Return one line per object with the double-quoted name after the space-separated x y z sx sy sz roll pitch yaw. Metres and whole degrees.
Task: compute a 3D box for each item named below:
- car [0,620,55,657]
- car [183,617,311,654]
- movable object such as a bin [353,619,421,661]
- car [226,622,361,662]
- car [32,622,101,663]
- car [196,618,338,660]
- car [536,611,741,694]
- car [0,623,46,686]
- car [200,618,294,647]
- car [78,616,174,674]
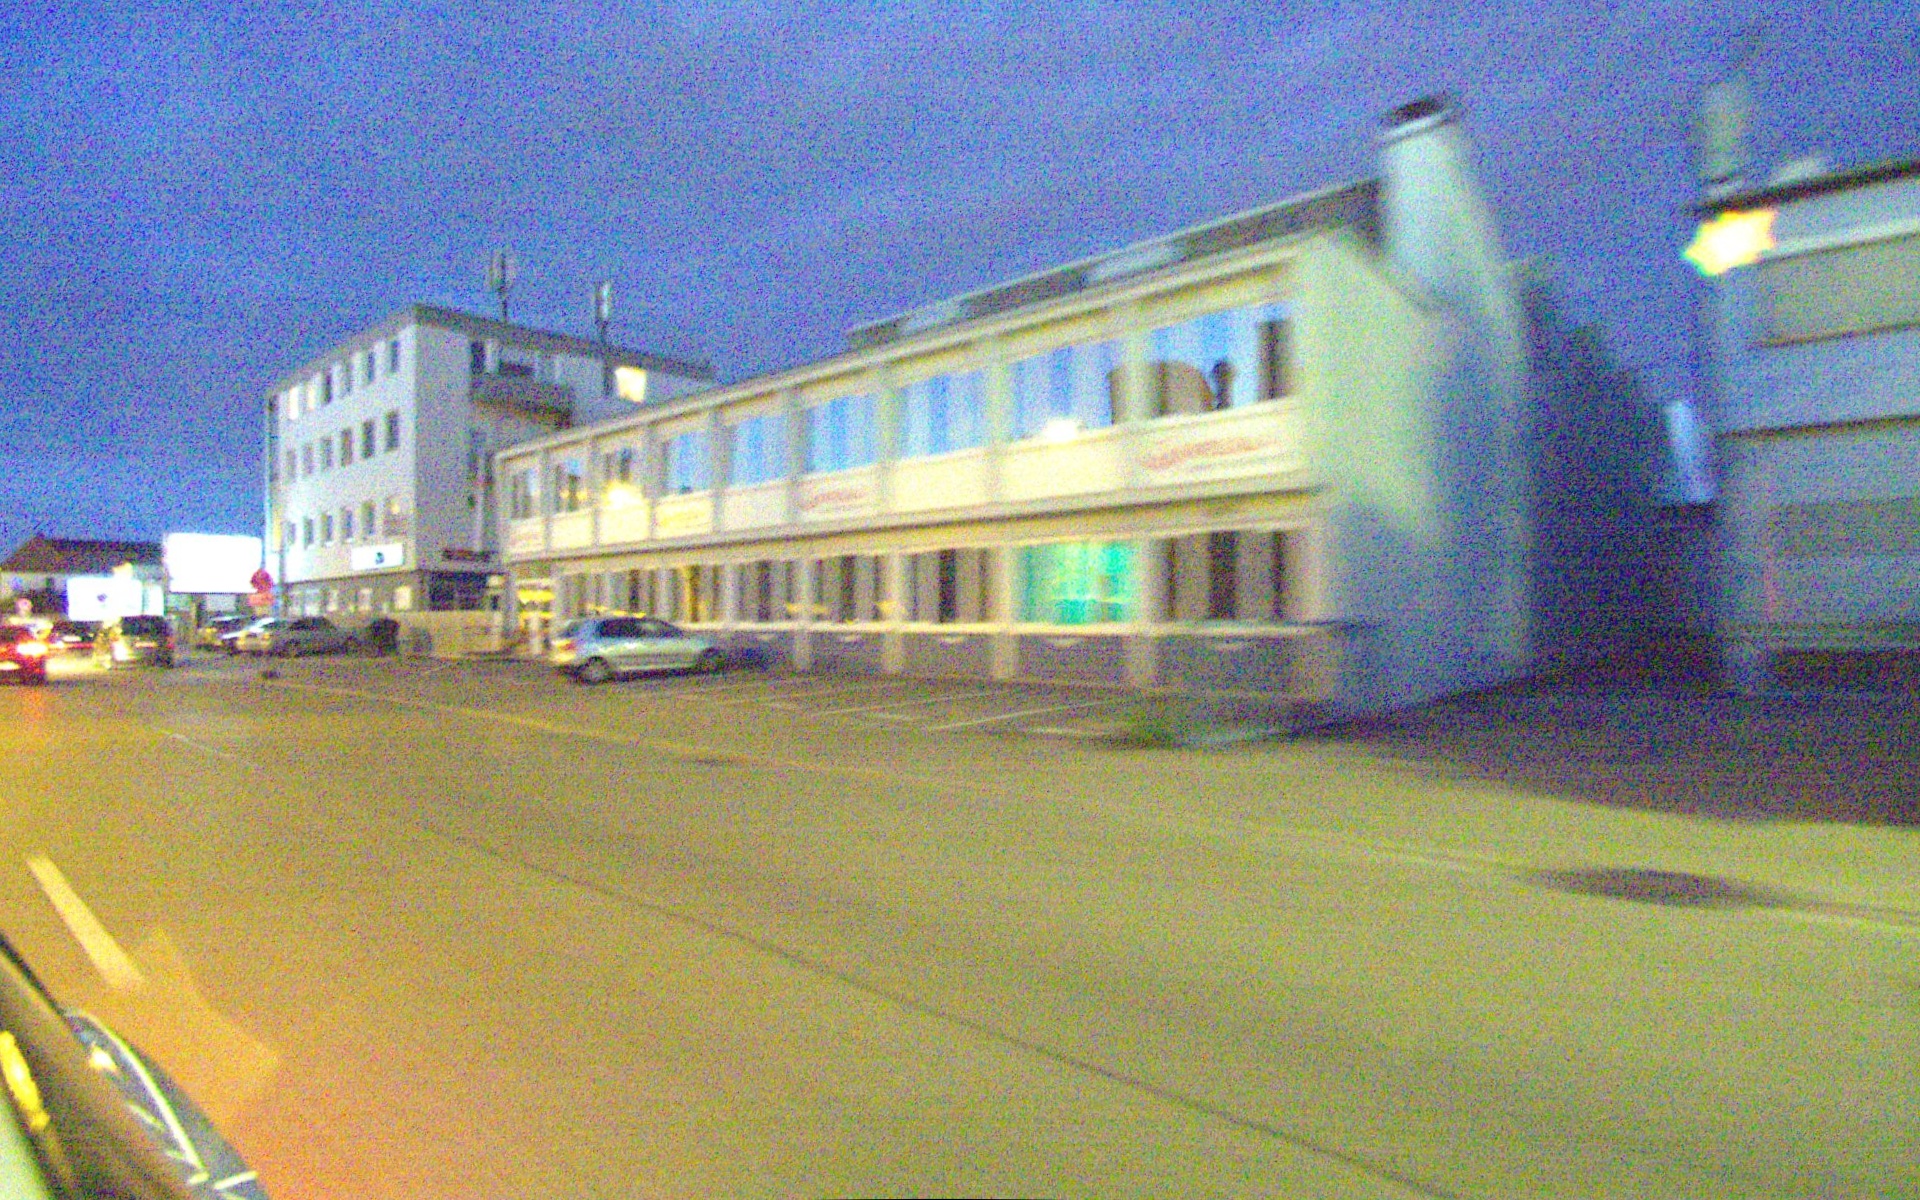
-47.824 1.947 51.798 4.877 1.812 1.785 -2 -2 43 "car"
-31.674 1.556 45.135 1.983 1.572 4.389 -1 -1 17 "car"
-21.429 1.484 37.860 1.609 1.511 1.837 -2 -1 42 "movable object such as a bin"
-25.751 1.590 39.317 1.776 1.451 4.396 0 -1 13 "car"
-39.367 1.862 44.537 4.817 1.701 1.925 -2 -2 44 "car"
-27.924 1.541 41.010 1.980 1.563 4.652 0 -1 13 "car"
-7.303 1.132 23.046 4.072 1.443 1.902 -5 1 -30 "car"
-23.453 1.275 24.259 3.998 1.431 1.838 -1 -2 41 "car"
-43.030 1.954 61.137 1.923 1.666 4.350 -2 -2 44 "car"
-28.407 1.486 34.422 4.412 1.863 1.794 -1 -2 41 "car"
